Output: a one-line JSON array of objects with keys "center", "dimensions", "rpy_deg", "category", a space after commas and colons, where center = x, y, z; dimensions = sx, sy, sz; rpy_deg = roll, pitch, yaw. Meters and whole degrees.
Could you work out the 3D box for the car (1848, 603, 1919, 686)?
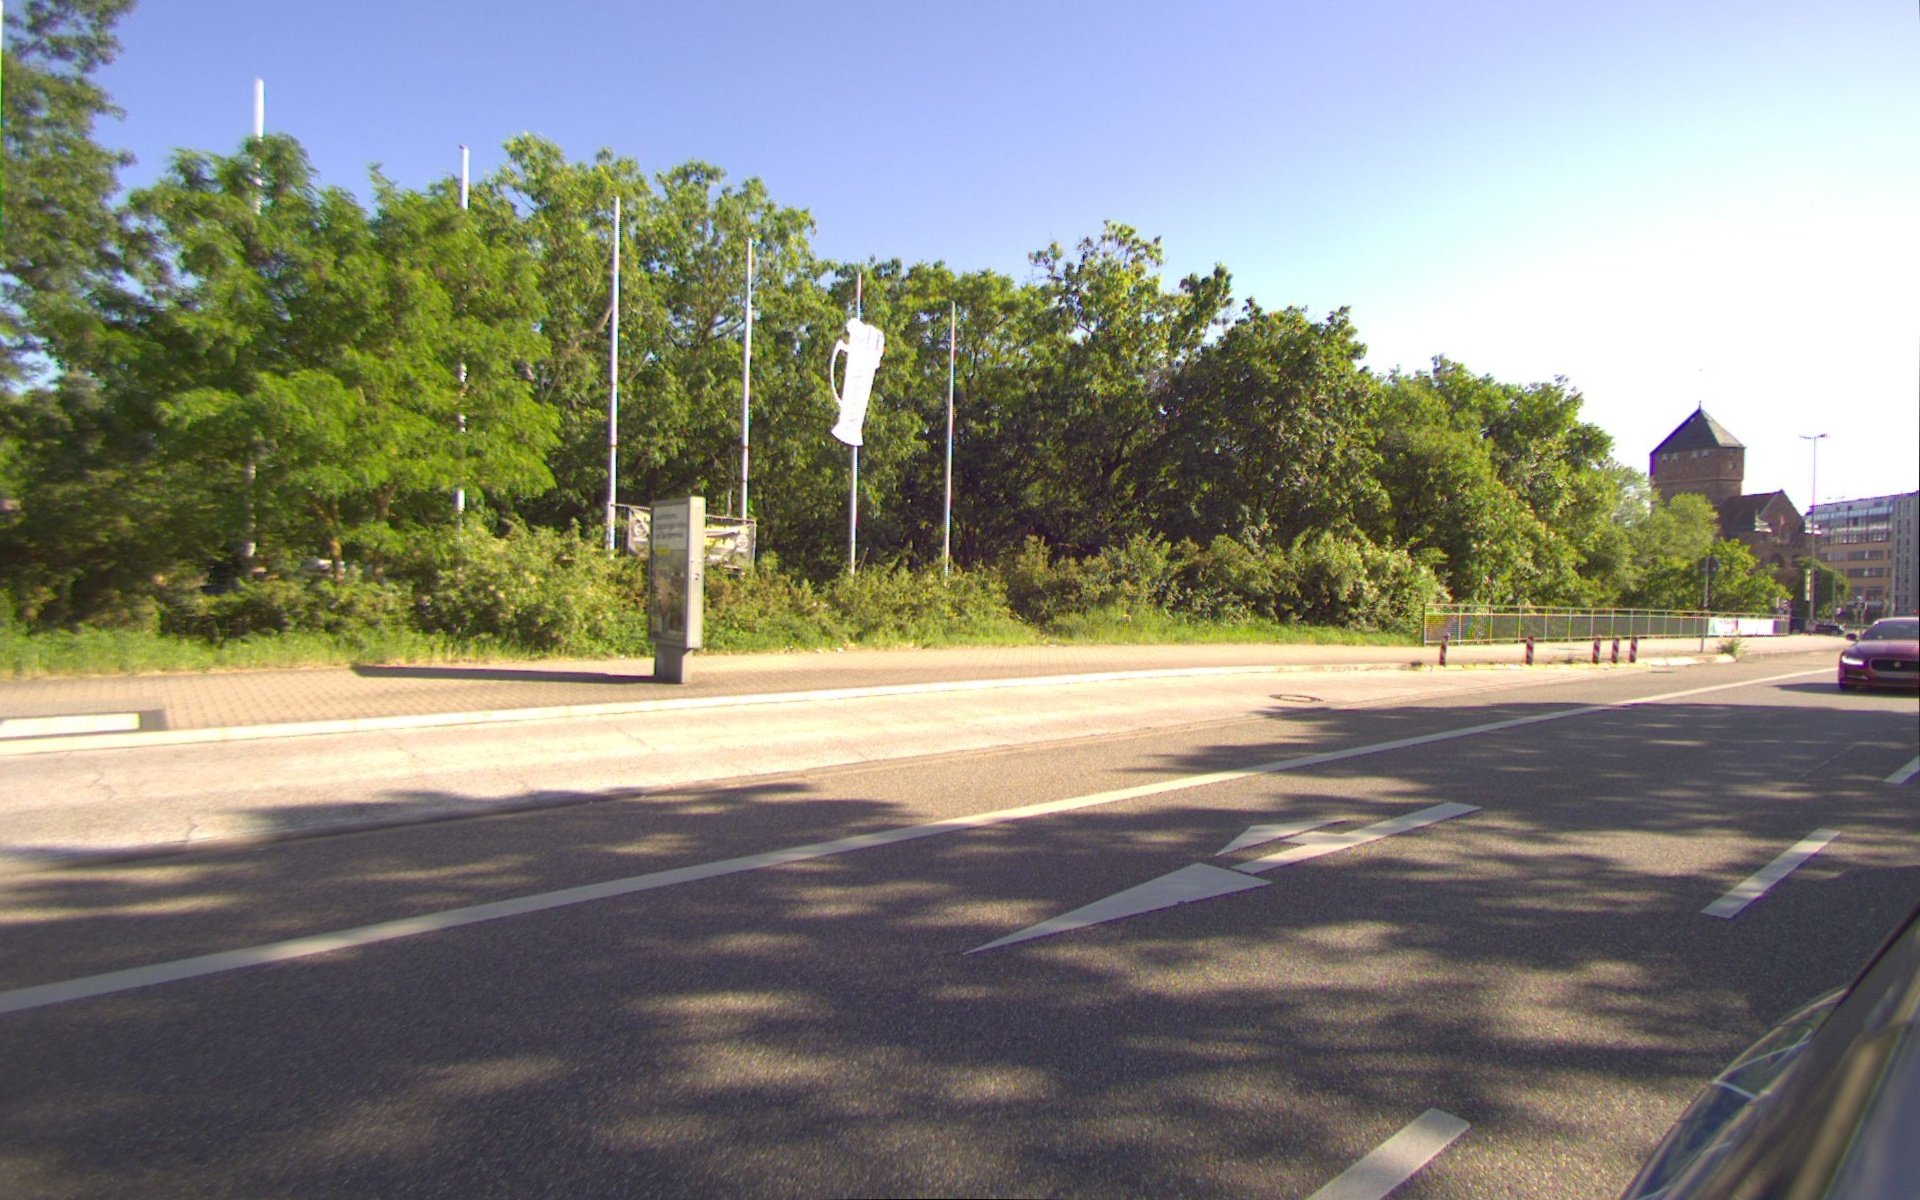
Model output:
[{"center": [18.674, 0.834, 19.387], "dimensions": [4.309, 1.446, 1.891], "rpy_deg": [1, 1, -40], "category": "car"}]
